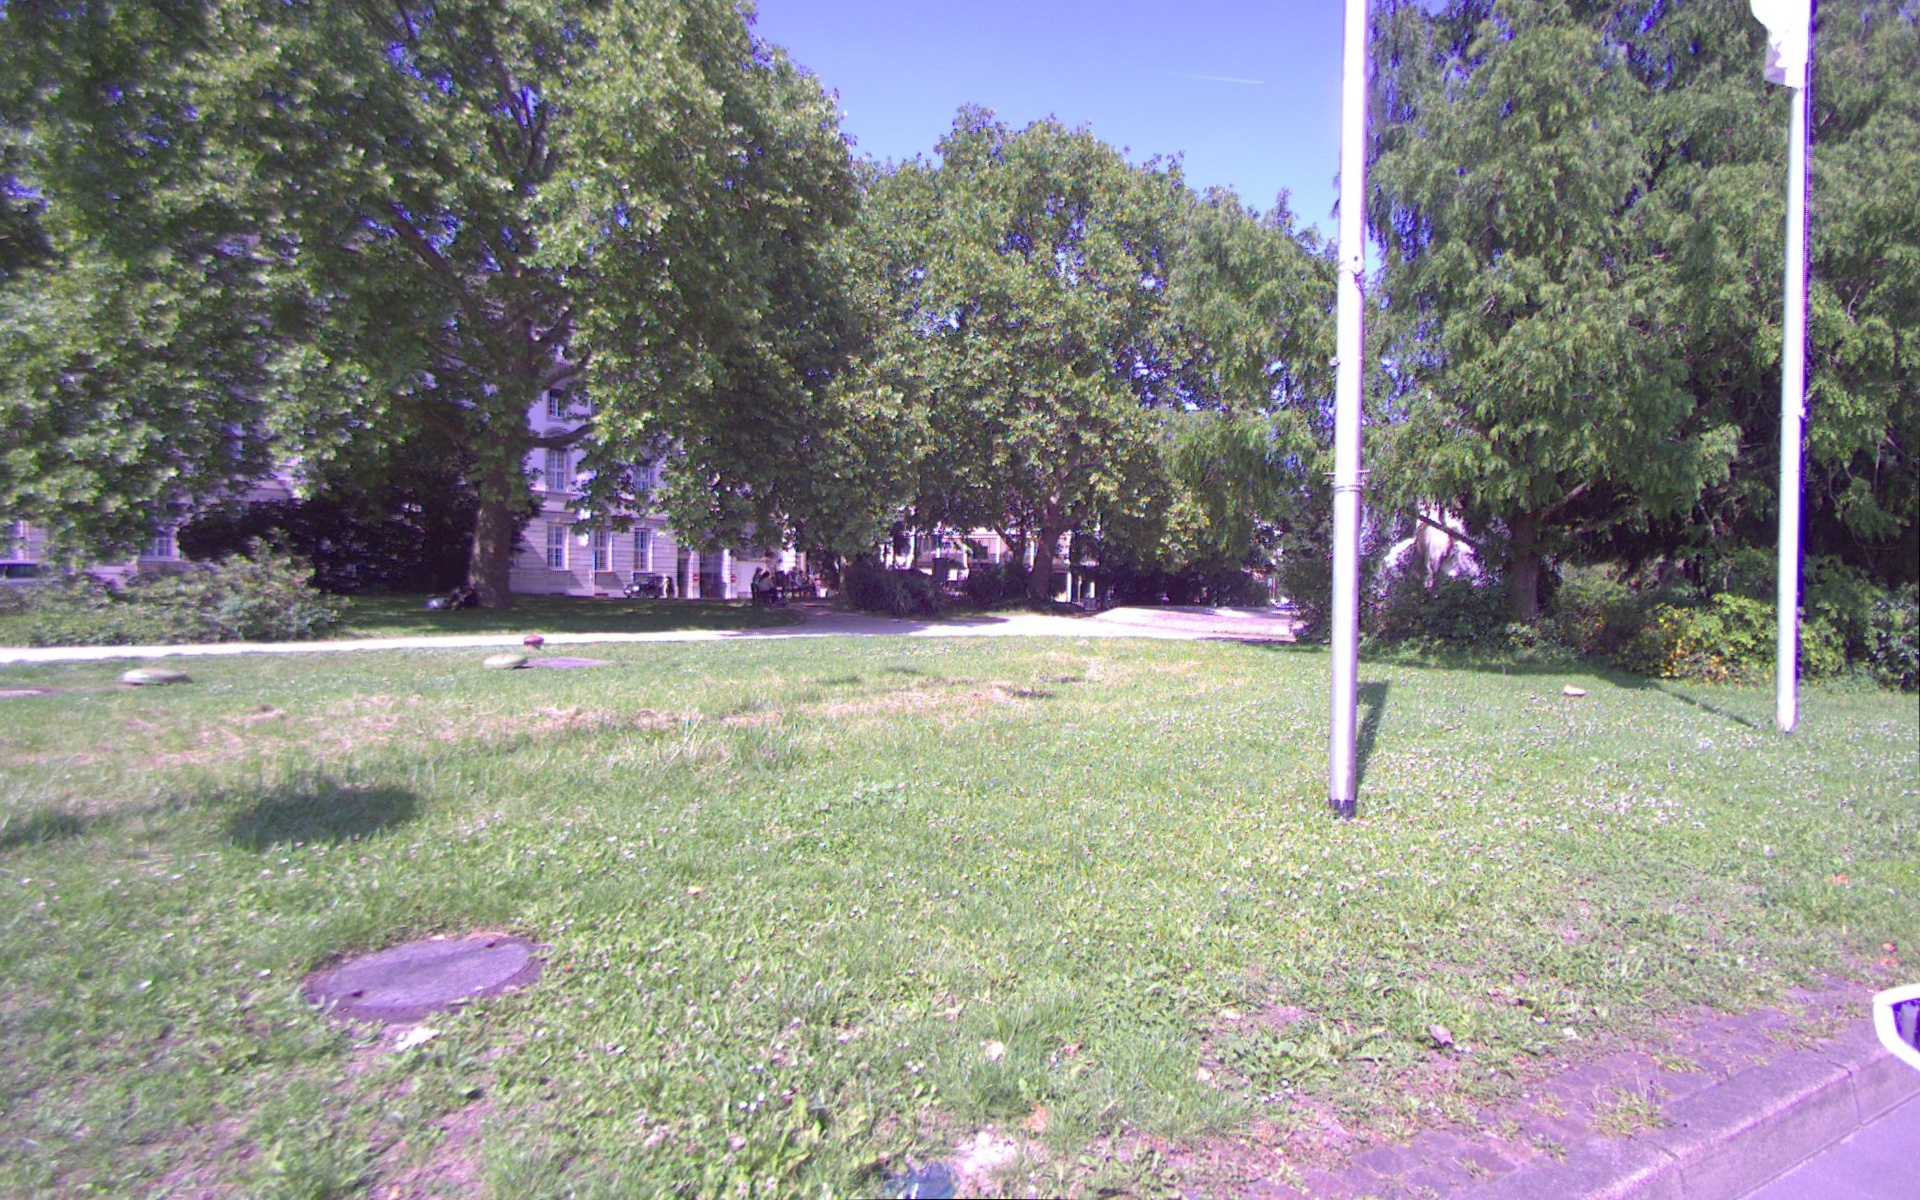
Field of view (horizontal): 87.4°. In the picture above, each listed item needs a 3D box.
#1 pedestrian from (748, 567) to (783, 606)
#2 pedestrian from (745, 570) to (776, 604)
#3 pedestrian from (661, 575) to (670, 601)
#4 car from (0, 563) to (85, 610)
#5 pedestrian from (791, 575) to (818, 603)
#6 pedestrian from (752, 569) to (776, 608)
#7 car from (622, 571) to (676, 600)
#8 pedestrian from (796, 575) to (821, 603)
[{"bbox_3d":[-6.399,-0.447,33.080,1.041,1.242,0.754,1,2,-17],"label":"pedestrian"},{"bbox_3d":[-7.517,-0.492,37.826,1.041,1.242,0.754,1,2,-17],"label":"pedestrian"},{"bbox_3d":[-19.335,-0.784,66.023,0.486,1.646,0.376,1,1,-29],"label":"pedestrian"},{"bbox_3d":[-27.585,-0.400,28.721,1.584,1.286,3.575,3,2,32],"label":"car"},{"bbox_3d":[-7.086,-0.519,45.777,1.037,1.242,0.756,2,2,1],"label":"pedestrian"},{"bbox_3d":[-6.313,-0.370,32.293,0.659,1.242,0.754,1,2,-16],"label":"pedestrian"},{"bbox_3d":[-20.586,-0.908,66.595,1.841,1.824,4.002,1,0,8],"label":"car"},{"bbox_3d":[-7.030,-0.520,46.613,1.037,1.242,0.756,2,2,1],"label":"pedestrian"}]
